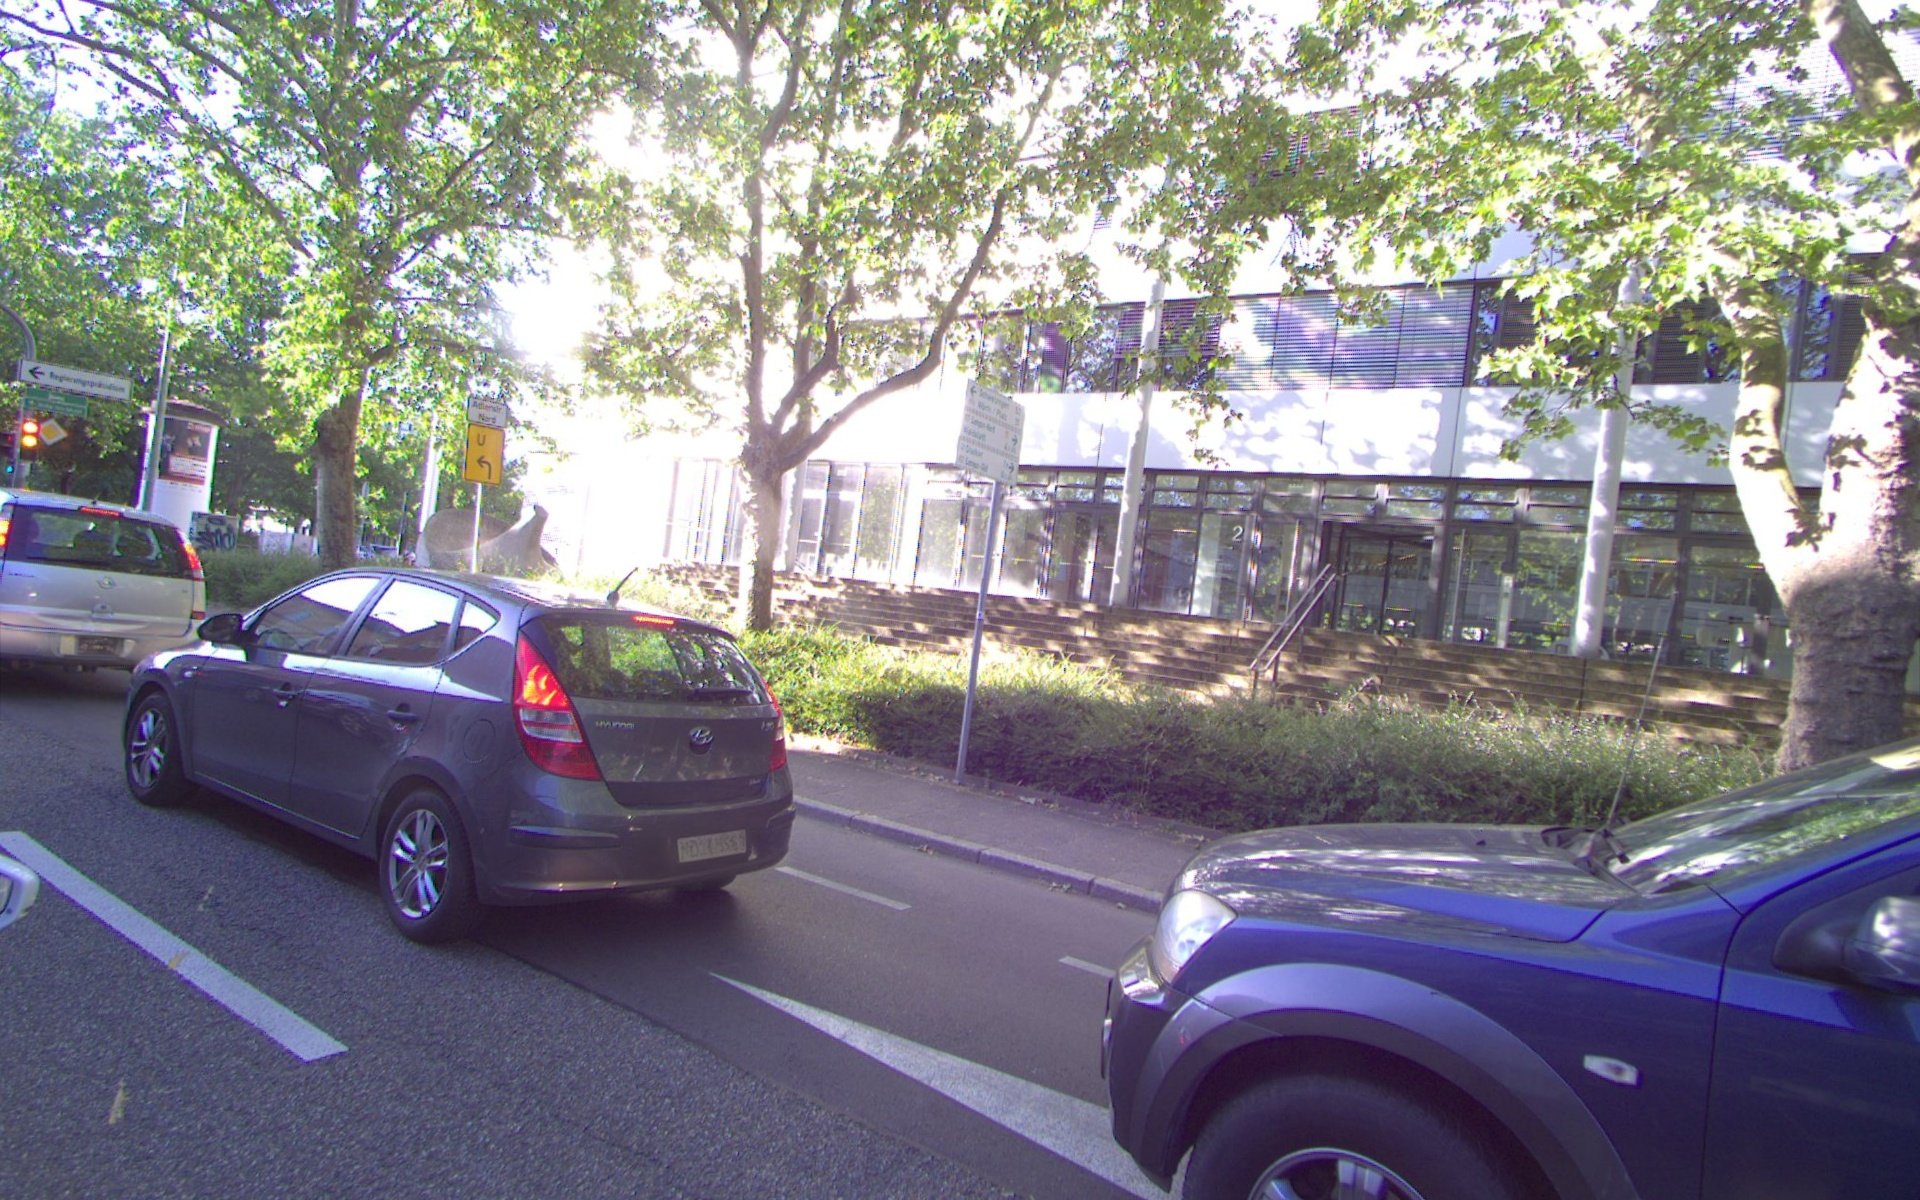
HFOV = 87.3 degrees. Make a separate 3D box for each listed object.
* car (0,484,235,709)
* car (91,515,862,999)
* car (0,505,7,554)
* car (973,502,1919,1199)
[{"bbox_3d":[-8.413,-0.150,9.034,3.797,1.620,1.705,7,-3,34],"label":"car"},{"bbox_3d":[-2.650,0.556,5.265,3.910,1.498,1.648,7,-3,32],"label":"car"},{"bbox_3d":[-14.065,-0.732,12.573,4.592,1.481,1.917,7,-2,32],"label":"car"},{"bbox_3d":[2.406,0.972,2.012,4.312,1.790,1.785,7,-3,32],"label":"car"}]
